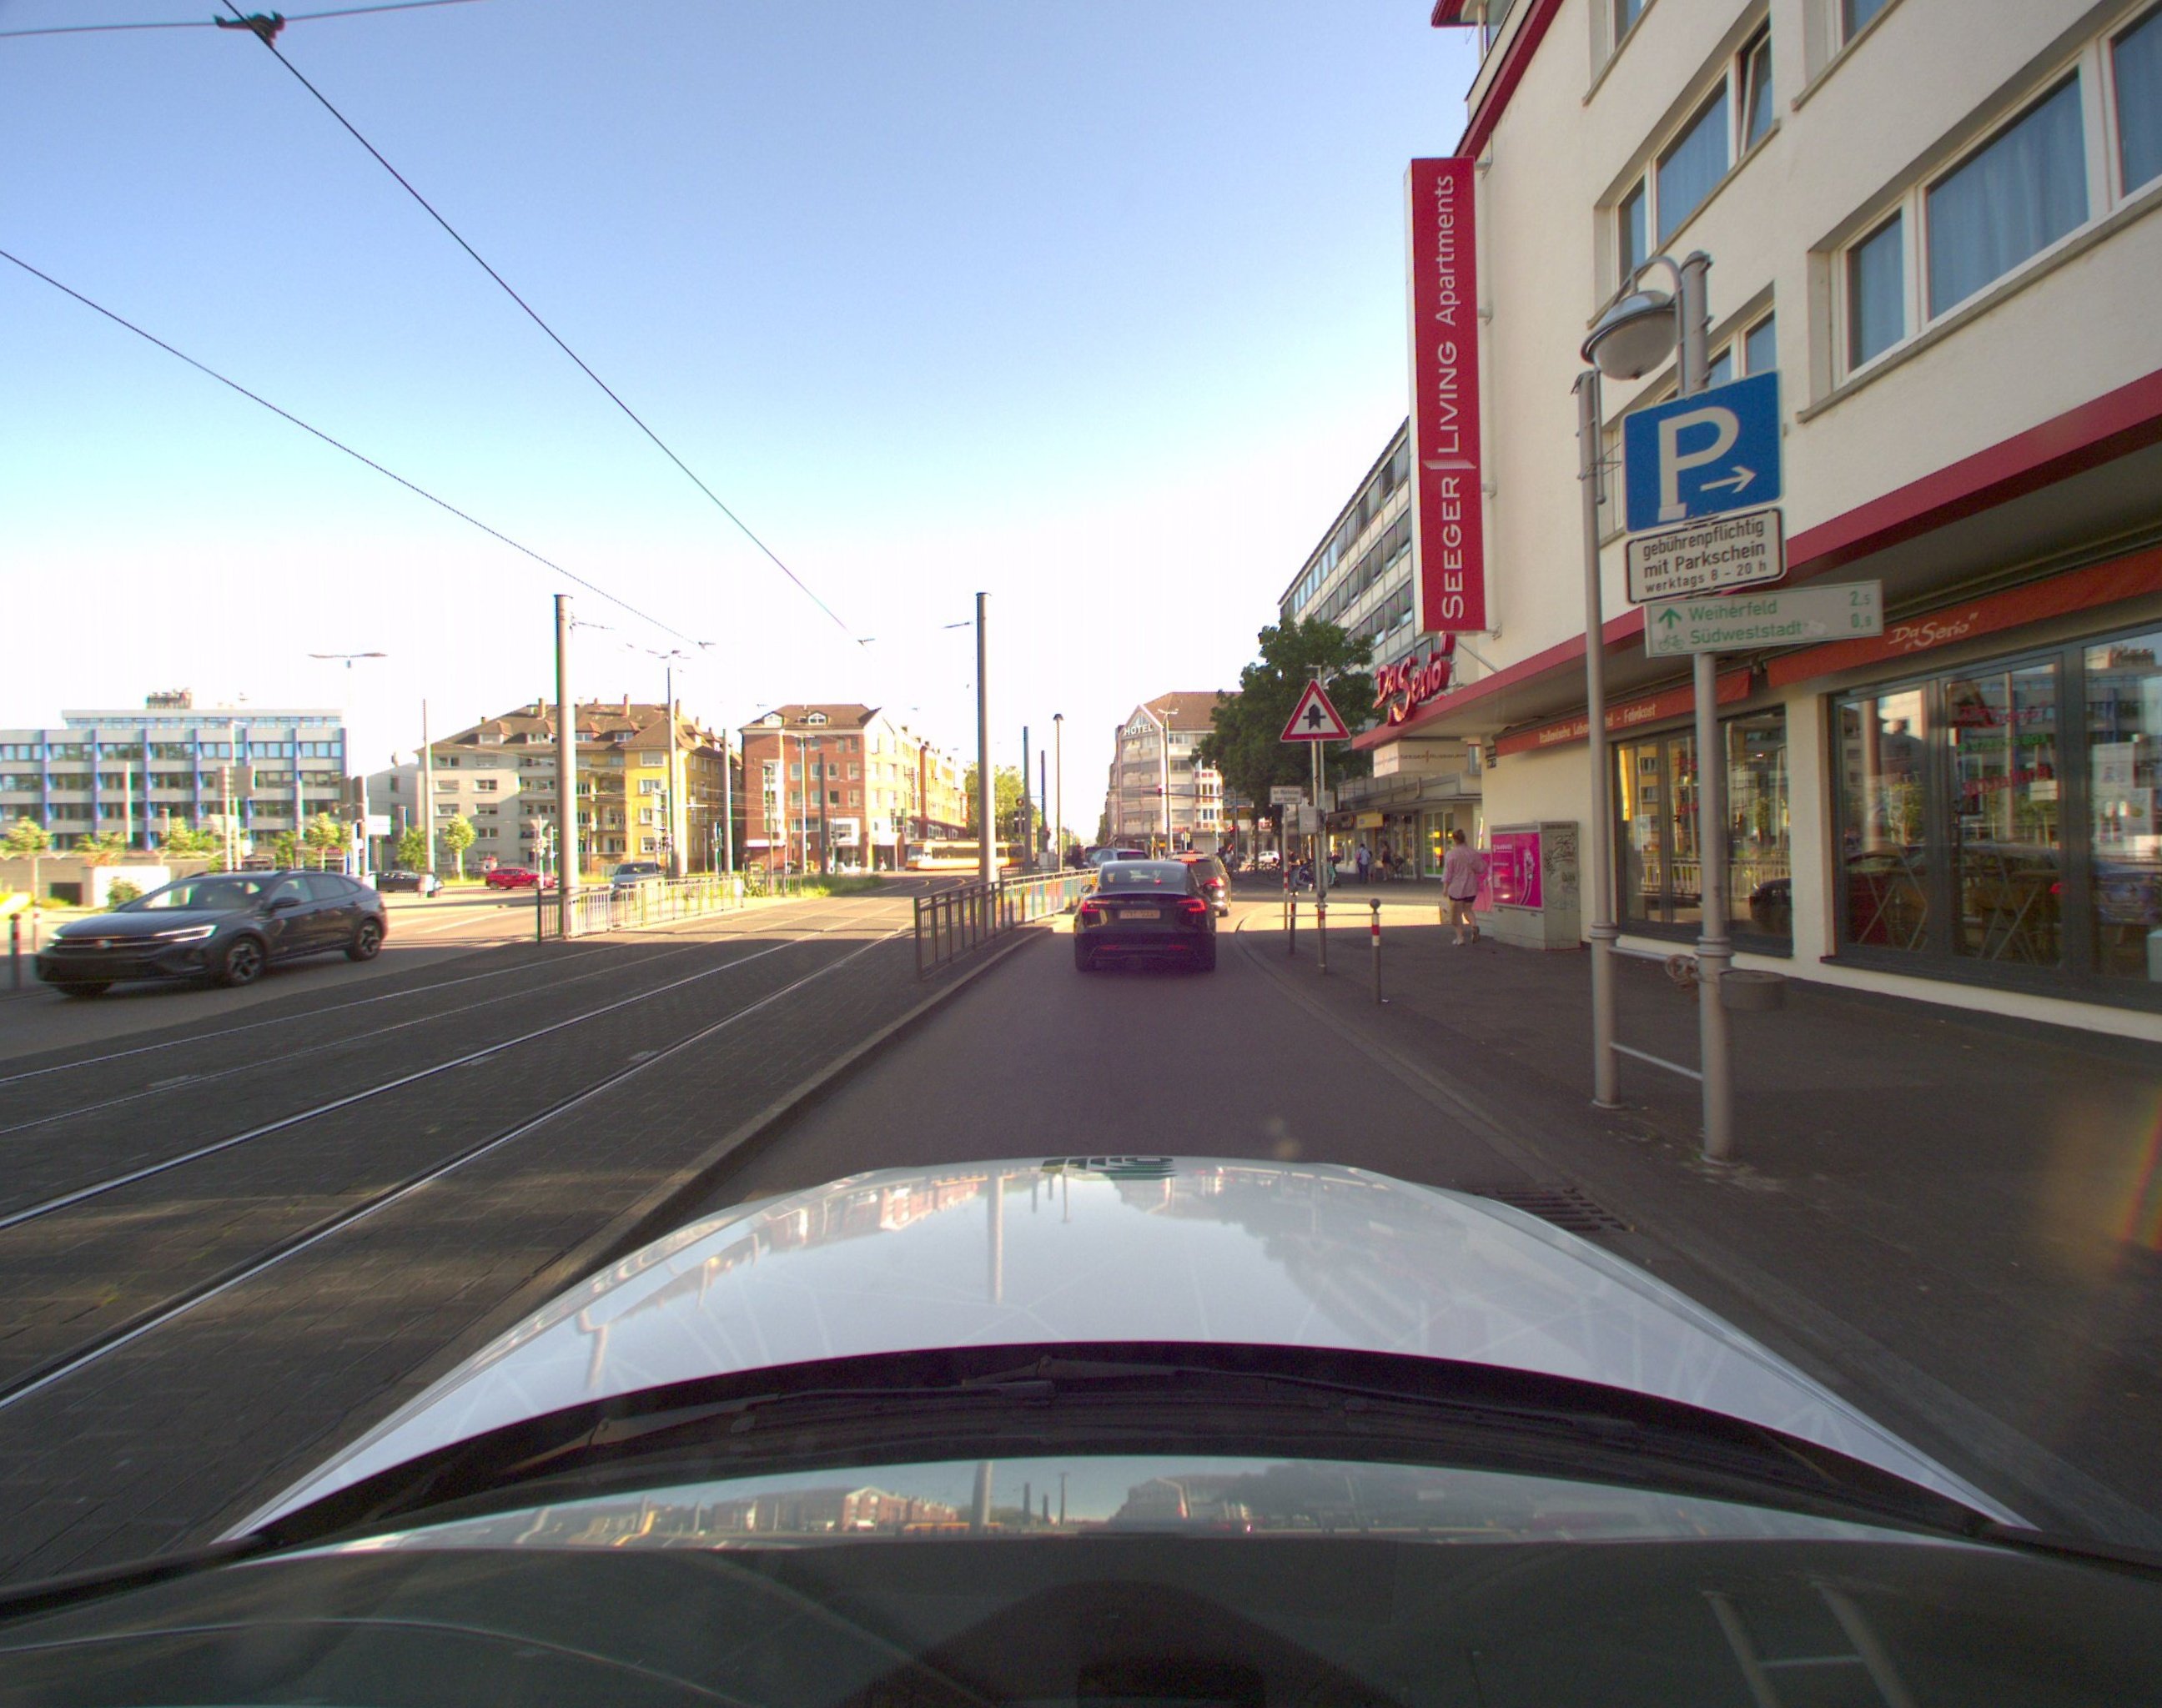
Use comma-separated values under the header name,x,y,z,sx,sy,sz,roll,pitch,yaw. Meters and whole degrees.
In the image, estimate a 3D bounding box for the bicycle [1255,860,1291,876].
name,x,y,z,sx,sy,sz,roll,pitch,yaw
bicycle,10.810,0.807,45.810,1.917,0.888,0.526,-1,-1,2

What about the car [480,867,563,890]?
name,x,y,z,sx,sy,sz,roll,pitch,yaw
car,-37.838,1.657,55.172,4.143,1.490,1.933,0,0,-9

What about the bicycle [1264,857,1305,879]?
name,x,y,z,sx,sy,sz,roll,pitch,yaw
bicycle,10.221,0.708,40.907,1.917,1.097,0.555,-1,-1,2

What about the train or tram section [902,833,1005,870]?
name,x,y,z,sx,sy,sz,roll,pitch,yaw
train or tram section,-13.509,-0.200,88.461,2.649,3.715,14.279,0,0,30

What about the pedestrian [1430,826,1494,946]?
name,x,y,z,sx,sy,sz,roll,pitch,yaw
pedestrian,5.575,0.444,11.932,0.810,1.683,0.718,1,-1,24

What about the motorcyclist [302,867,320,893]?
name,x,y,z,sx,sy,sz,roll,pitch,yaw
motorcyclist,-50.907,1.709,53.851,0.780,1.708,0.387,1,-1,-7

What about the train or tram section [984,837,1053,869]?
name,x,y,z,sx,sy,sz,roll,pitch,yaw
train or tram section,-7.564,-0.046,102.099,2.615,3.718,15.460,1,0,19

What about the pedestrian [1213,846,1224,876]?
name,x,y,z,sx,sy,sz,roll,pitch,yaw
pedestrian,7.920,0.408,46.966,0.559,1.683,0.751,0,0,6

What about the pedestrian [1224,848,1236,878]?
name,x,y,z,sx,sy,sz,roll,pitch,yaw
pedestrian,8.168,0.491,44.617,0.626,1.613,0.644,0,0,5

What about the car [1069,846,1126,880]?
name,x,y,z,sx,sy,sz,roll,pitch,yaw
car,0.710,0.412,38.664,1.825,1.519,4.201,1,0,-12

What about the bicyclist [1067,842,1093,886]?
name,x,y,z,sx,sy,sz,roll,pitch,yaw
bicyclist,-0.049,0.348,28.232,0.835,1.500,0.559,1,-1,-7

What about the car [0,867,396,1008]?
name,x,y,z,sx,sy,sz,roll,pitch,yaw
car,-11.956,0.978,11.429,1.766,1.512,4.262,-1,0,-12

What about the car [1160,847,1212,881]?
name,x,y,z,sx,sy,sz,roll,pitch,yaw
car,5.002,0.478,39.217,1.821,1.519,3.644,1,0,-4

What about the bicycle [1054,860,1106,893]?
name,x,y,z,sx,sy,sz,roll,pitch,yaw
bicycle,-0.044,0.767,28.199,1.726,1.088,0.676,1,-1,-7

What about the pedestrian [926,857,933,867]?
name,x,y,z,sx,sy,sz,roll,pitch,yaw
pedestrian,-19.736,1.052,105.851,0.708,1.342,0.666,-1,0,1

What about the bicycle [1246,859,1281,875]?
name,x,y,z,sx,sy,sz,roll,pitch,yaw
bicycle,10.759,0.752,48.053,1.917,0.890,0.526,-1,-1,2

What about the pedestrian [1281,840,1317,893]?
name,x,y,z,sx,sy,sz,roll,pitch,yaw
pedestrian,7.177,0.413,26.813,1.009,1.742,0.524,1,-1,-24

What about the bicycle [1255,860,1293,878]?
name,x,y,z,sx,sy,sz,roll,pitch,yaw
bicycle,10.365,0.809,43.805,1.917,0.950,0.526,-1,-1,2

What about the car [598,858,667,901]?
name,x,y,z,sx,sy,sz,roll,pitch,yaw
car,-18.560,0.998,33.863,1.788,1.568,4.264,-2,0,-19

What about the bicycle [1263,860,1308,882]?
name,x,y,z,sx,sy,sz,roll,pitch,yaw
bicycle,9.766,0.811,38.921,2.043,0.982,0.483,-1,-1,2

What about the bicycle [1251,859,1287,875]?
name,x,y,z,sx,sy,sz,roll,pitch,yaw
bicycle,10.827,0.760,46.935,1.917,0.890,0.526,-1,-1,2

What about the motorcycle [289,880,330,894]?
name,x,y,z,sx,sy,sz,roll,pitch,yaw
motorcycle,-51.010,2.185,53.864,1.996,0.893,0.560,1,-1,-7

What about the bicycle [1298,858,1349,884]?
name,x,y,z,sx,sy,sz,roll,pitch,yaw
bicycle,10.313,0.721,34.685,2.043,1.121,0.483,-1,-1,2

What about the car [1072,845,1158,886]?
name,x,y,z,sx,sy,sz,roll,pitch,yaw
car,1.279,0.447,32.523,1.791,1.519,4.185,1,0,-24

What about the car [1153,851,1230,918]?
name,x,y,z,sx,sy,sz,roll,pitch,yaw
car,2.753,0.646,19.701,1.643,1.418,4.011,1,1,10

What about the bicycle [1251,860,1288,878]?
name,x,y,z,sx,sy,sz,roll,pitch,yaw
bicycle,10.357,0.814,44.821,1.917,0.950,0.526,-1,-1,2

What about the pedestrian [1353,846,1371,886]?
name,x,y,z,sx,sy,sz,roll,pitch,yaw
pedestrian,11.887,0.507,34.461,0.593,1.641,0.466,-2,-1,2

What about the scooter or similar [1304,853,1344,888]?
name,x,y,z,sx,sy,sz,roll,pitch,yaw
scooter or similar,9.639,0.657,32.317,1.415,1.317,0.691,0,-2,-24

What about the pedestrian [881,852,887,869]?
name,x,y,z,sx,sy,sz,roll,pitch,yaw
pedestrian,-23.556,0.766,97.411,0.565,2.014,0.349,1,-1,-14

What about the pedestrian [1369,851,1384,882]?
name,x,y,z,sx,sy,sz,roll,pitch,yaw
pedestrian,12.541,0.521,34.582,0.418,1.280,0.531,-2,-1,3

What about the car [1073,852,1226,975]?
name,x,y,z,sx,sy,sz,roll,pitch,yaw
car,0.837,0.731,11.729,1.843,1.484,3.786,0,0,0

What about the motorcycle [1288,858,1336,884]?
name,x,y,z,sx,sy,sz,roll,pitch,yaw
motorcycle,10.425,0.750,36.759,1.984,1.128,0.596,1,-1,1
